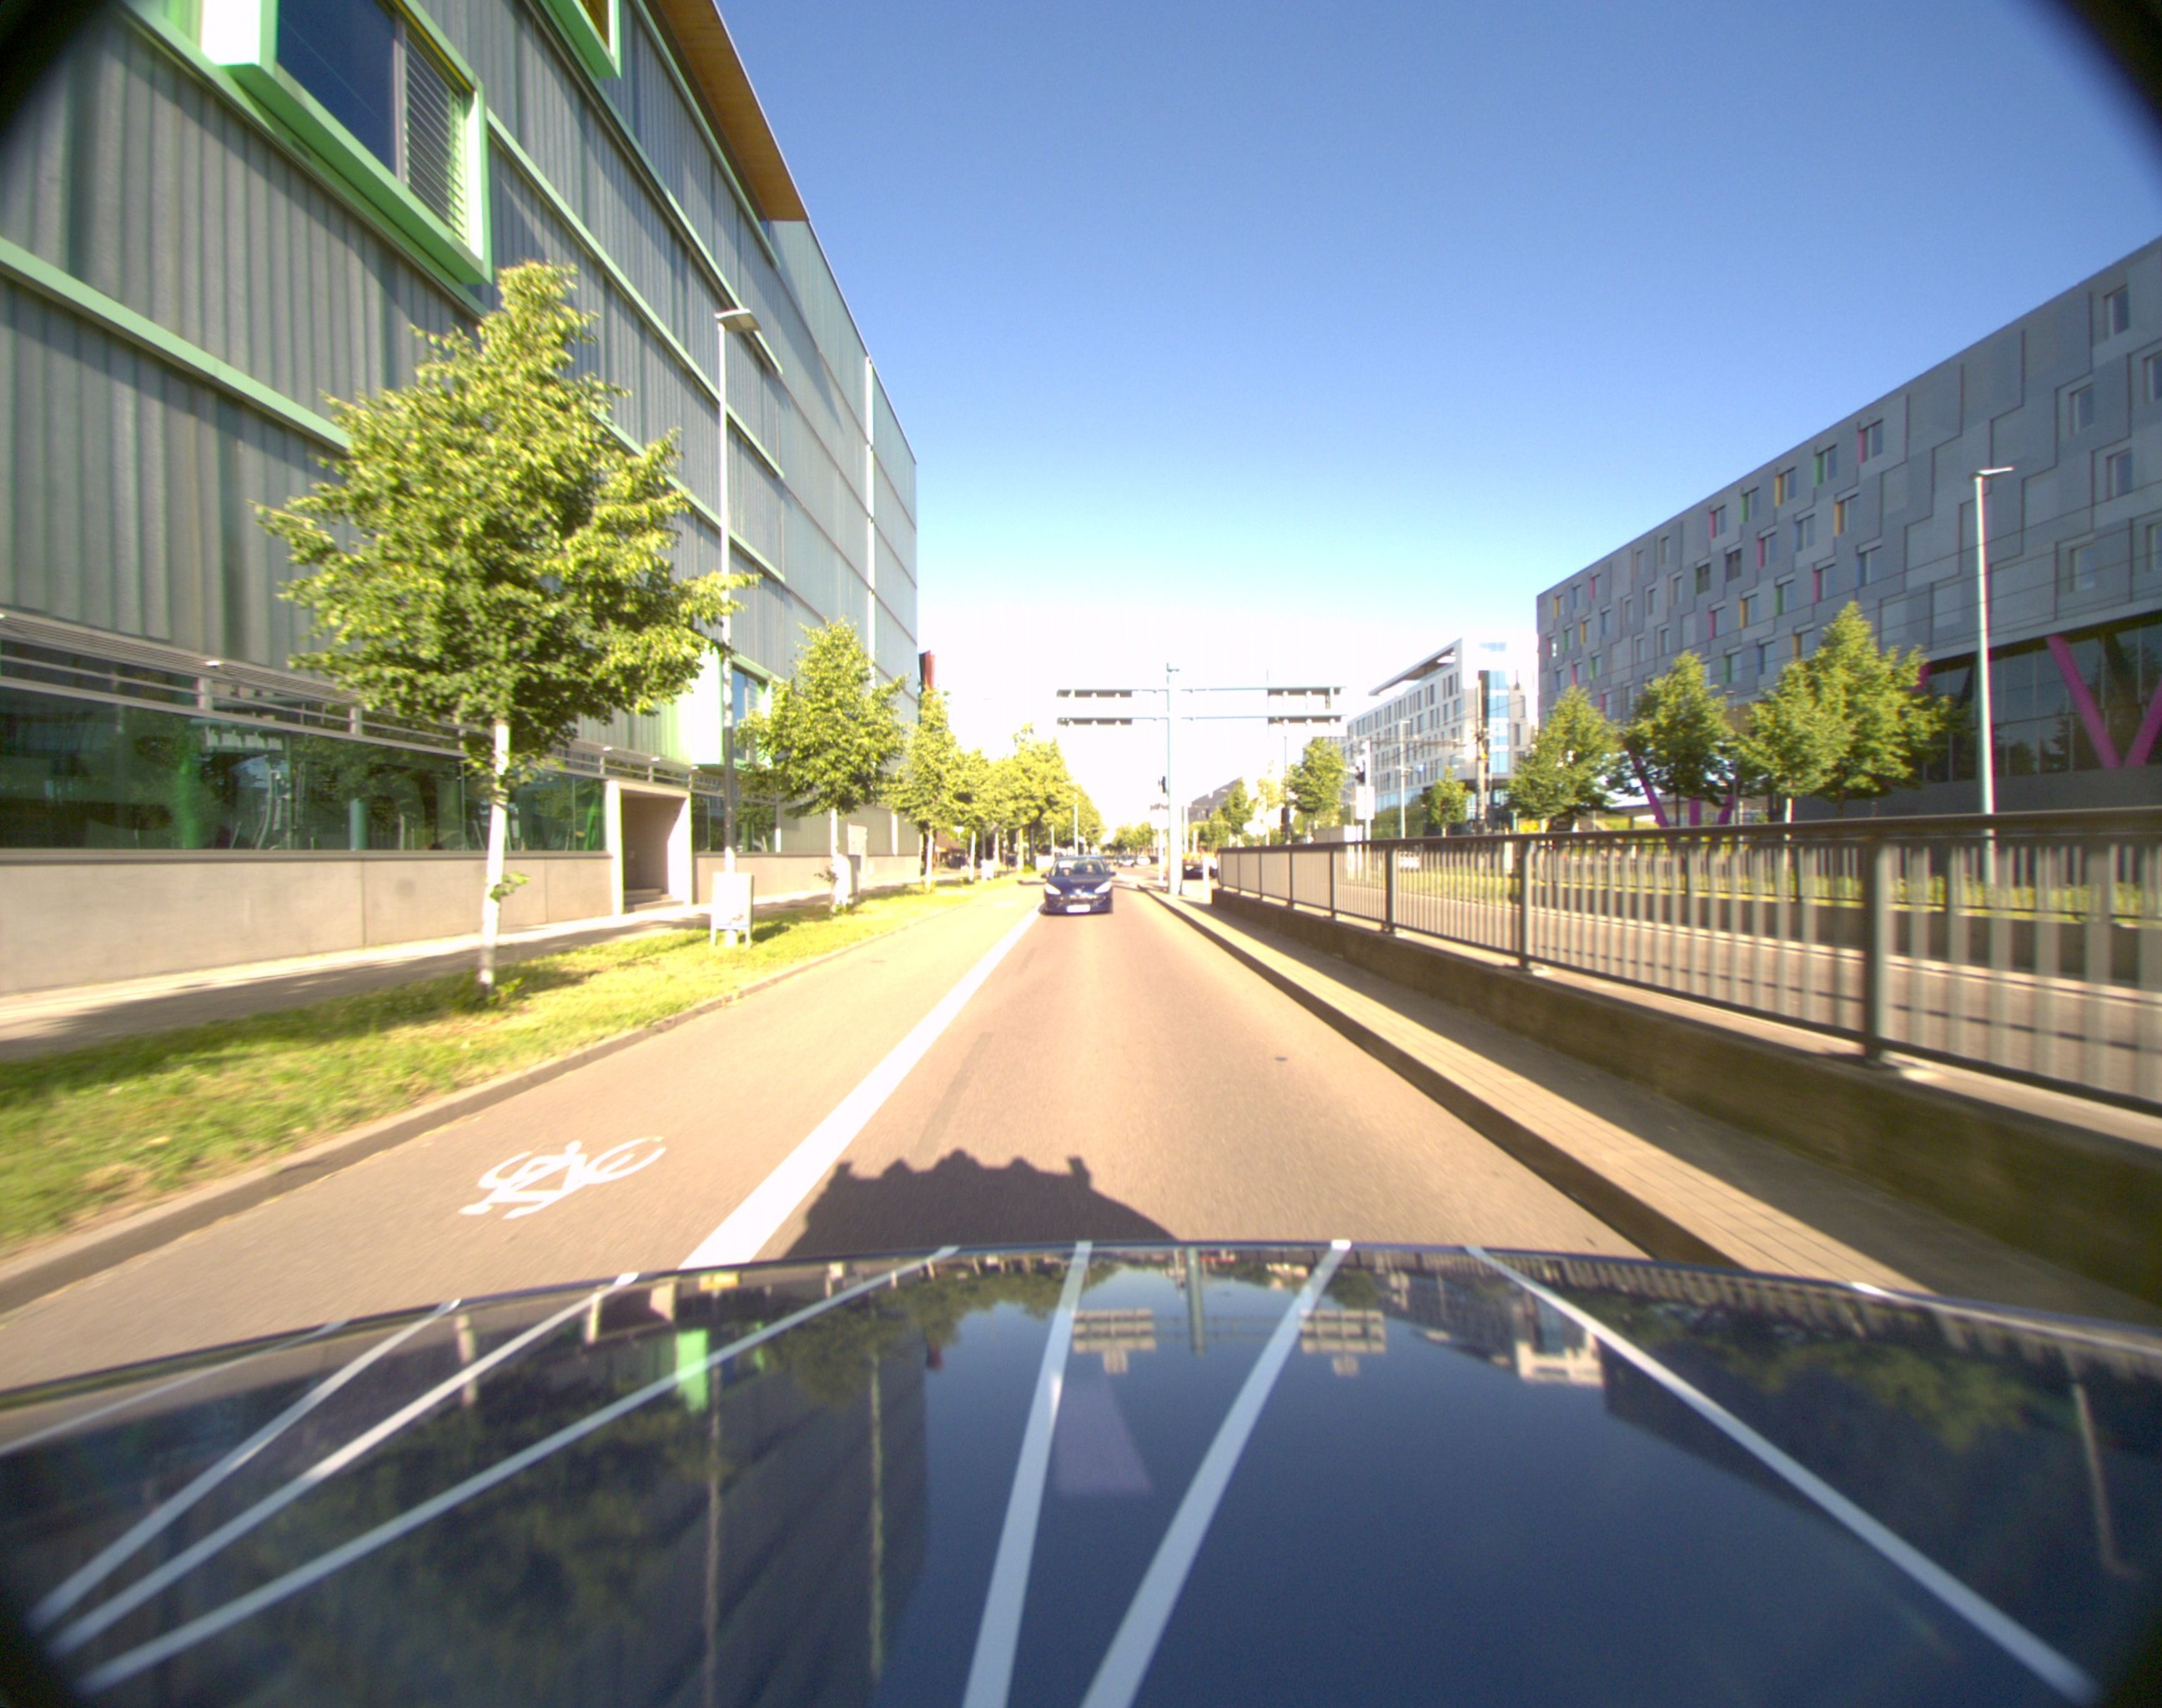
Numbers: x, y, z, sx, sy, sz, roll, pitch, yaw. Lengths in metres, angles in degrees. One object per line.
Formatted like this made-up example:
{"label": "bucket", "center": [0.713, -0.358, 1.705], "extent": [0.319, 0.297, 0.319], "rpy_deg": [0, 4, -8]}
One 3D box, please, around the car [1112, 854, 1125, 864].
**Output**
{"label": "car", "center": [5.805, 0.793, 117.339], "extent": [1.839, 1.483, 4.006], "rpy_deg": [-2, 0, 1]}

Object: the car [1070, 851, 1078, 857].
{"label": "car", "center": [-1.861, 0.115, 209.210], "extent": [1.998, 1.576, 4.000], "rpy_deg": [-2, 0, 2]}

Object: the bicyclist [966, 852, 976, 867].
{"label": "bicyclist", "center": [-12.259, 0.660, 84.502], "extent": [0.876, 1.644, 0.794], "rpy_deg": [0, 0, 13]}

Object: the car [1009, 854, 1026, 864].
{"label": "car", "center": [-10.607, 0.856, 127.255], "extent": [1.898, 1.479, 4.348], "rpy_deg": [-2, 0, 6]}

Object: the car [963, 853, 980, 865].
{"label": "car", "center": [-18.565, 0.839, 128.881], "extent": [1.898, 2.025, 5.071], "rpy_deg": [0, 0, 3]}

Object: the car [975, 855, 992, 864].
{"label": "car", "center": [-17.696, 1.027, 138.629], "extent": [1.898, 1.477, 4.915], "rpy_deg": [-2, 0, 6]}

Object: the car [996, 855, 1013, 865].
{"label": "car", "center": [-11.400, 0.890, 113.448], "extent": [1.898, 1.457, 4.038], "rpy_deg": [-2, 0, 4]}

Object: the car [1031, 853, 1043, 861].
{"label": "car", "center": [-8.446, 0.521, 146.782], "extent": [1.942, 1.372, 3.914], "rpy_deg": [-2, 0, 3]}

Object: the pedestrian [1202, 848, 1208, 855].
{"label": "pedestrian", "center": [24.128, -0.492, 147.926], "extent": [1.068, 1.458, 0.844], "rpy_deg": [-2, 1, 6]}

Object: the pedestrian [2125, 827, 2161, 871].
{"label": "pedestrian", "center": [45.210, -0.211, 32.189], "extent": [0.722, 1.811, 0.871], "rpy_deg": [-1, 1, 1]}

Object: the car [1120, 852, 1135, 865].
{"label": "car", "center": [5.749, 0.535, 93.354], "extent": [1.675, 1.418, 4.006], "rpy_deg": [-2, 0, 2]}

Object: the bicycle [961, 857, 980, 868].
{"label": "bicycle", "center": [-12.279, 0.972, 84.527], "extent": [2.100, 1.196, 0.552], "rpy_deg": [-1, 0, 16]}

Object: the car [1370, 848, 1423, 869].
{"label": "car", "center": [24.042, 0.321, 58.096], "extent": [1.998, 1.553, 4.871], "rpy_deg": [-1, 0, 0]}

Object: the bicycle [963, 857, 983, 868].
{"label": "bicycle", "center": [-12.142, 0.966, 85.458], "extent": [2.100, 1.196, 0.552], "rpy_deg": [-1, 0, 13]}

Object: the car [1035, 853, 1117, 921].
{"label": "car", "center": [-0.015, 0.792, 20.535], "extent": [1.802, 1.518, 4.606], "rpy_deg": [-2, 0, 4]}

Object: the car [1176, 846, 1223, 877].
{"label": "car", "center": [6.235, 0.373, 40.480], "extent": [1.803, 1.518, 4.343], "rpy_deg": [-3, 0, 0]}

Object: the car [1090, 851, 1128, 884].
{"label": "car", "center": [1.501, 0.631, 39.263], "extent": [1.802, 1.518, 4.606], "rpy_deg": [-2, 0, 3]}

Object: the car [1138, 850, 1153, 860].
{"label": "car", "center": [9.634, 0.160, 113.728], "extent": [1.676, 1.418, 4.005], "rpy_deg": [-3, 0, -2]}
